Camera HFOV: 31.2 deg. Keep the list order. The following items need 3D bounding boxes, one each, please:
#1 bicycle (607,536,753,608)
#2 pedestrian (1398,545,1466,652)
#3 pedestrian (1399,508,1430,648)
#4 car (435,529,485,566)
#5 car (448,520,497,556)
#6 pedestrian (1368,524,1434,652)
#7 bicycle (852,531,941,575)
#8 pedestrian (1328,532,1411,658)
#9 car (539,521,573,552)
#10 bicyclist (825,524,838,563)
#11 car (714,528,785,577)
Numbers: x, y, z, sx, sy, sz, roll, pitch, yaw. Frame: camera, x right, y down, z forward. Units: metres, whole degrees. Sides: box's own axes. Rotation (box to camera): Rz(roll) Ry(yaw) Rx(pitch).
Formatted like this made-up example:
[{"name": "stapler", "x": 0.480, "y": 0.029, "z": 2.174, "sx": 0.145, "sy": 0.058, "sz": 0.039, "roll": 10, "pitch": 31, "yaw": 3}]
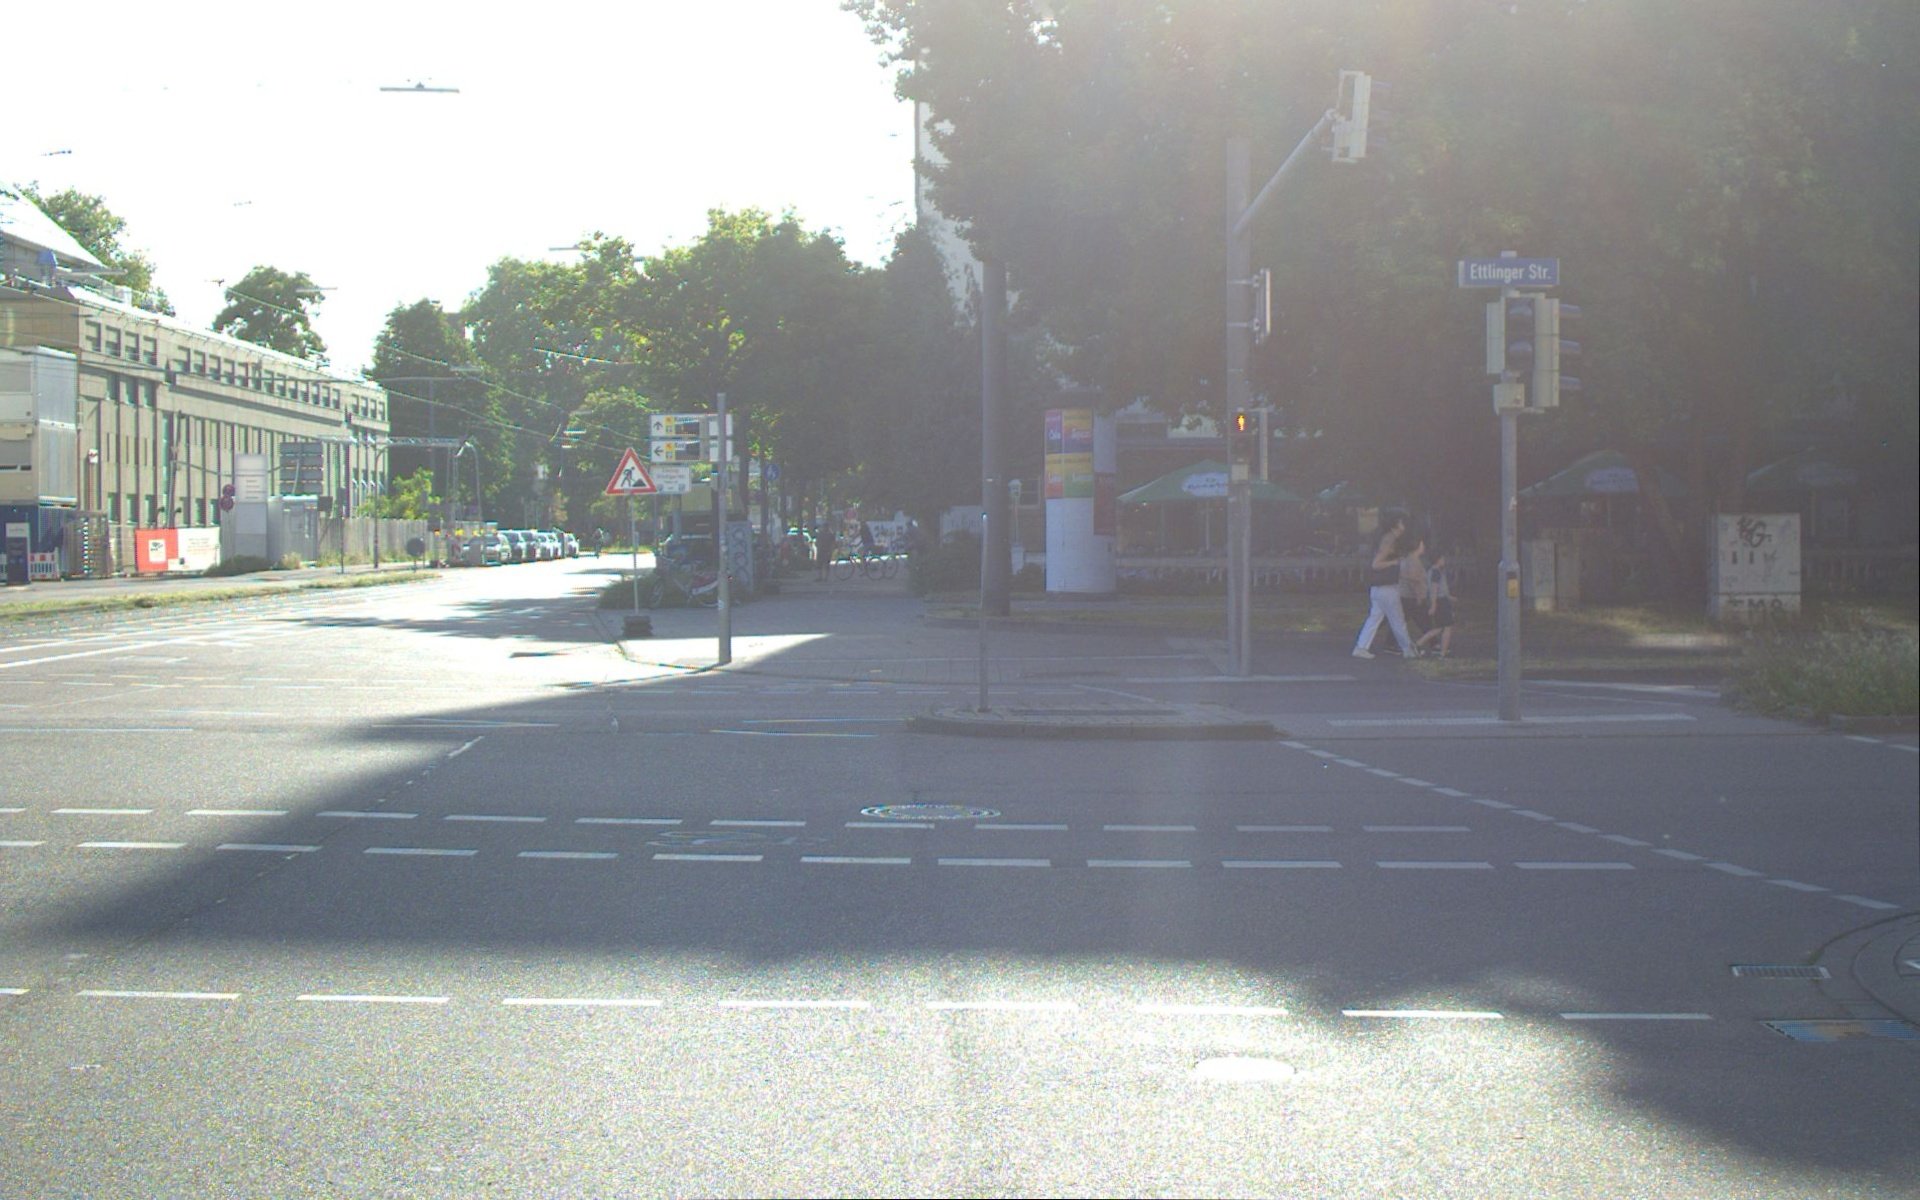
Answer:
[{"name": "bicycle", "x": -5.467, "y": -0.548, "z": 67.138, "sx": 2.748, "sy": 1.363, "sz": 0.630, "roll": 1, "pitch": 0, "yaw": 11}, {"name": "pedestrian", "x": 5.945, "y": -0.029, "z": 43.337, "sx": 0.752, "sy": 1.328, "sz": 0.742, "roll": 0, "pitch": 1, "yaw": 1}, {"name": "pedestrian", "x": 5.869, "y": -0.286, "z": 44.409, "sx": 0.361, "sy": 1.798, "sz": 0.506, "roll": 0, "pitch": 1, "yaw": 11}, {"name": "car", "x": -22.696, "y": -2.385, "z": 156.078, "sx": 1.731, "sy": 1.647, "sz": 4.000, "roll": 0, "pitch": 1, "yaw": -1}, {"name": "car", "x": -22.705, "y": -2.875, "z": 160.104, "sx": 1.731, "sy": 1.647, "sz": 4.000, "roll": 0, "pitch": 1, "yaw": -1}, {"name": "pedestrian", "x": 5.720, "y": -0.160, "z": 44.585, "sx": 0.795, "sy": 1.634, "sz": 0.533, "roll": 0, "pitch": 1, "yaw": 2}, {"name": "bicycle", "x": -1.898, "y": -1.399, "z": 103.189, "sx": 2.568, "sy": 1.284, "sz": 0.728, "roll": 1, "pitch": 0, "yaw": -11}, {"name": "pedestrian", "x": 5.233, "y": -0.065, "z": 43.952, "sx": 0.984, "sy": 1.582, "sz": 0.660, "roll": 0, "pitch": 0, "yaw": 1}, {"name": "car", "x": -22.817, "y": -3.574, "z": 194.167, "sx": 1.483, "sy": 1.744, "sz": 4.000, "roll": -1, "pitch": 1, "yaw": -1}, {"name": "bicyclist", "x": -3.680, "y": -1.622, "z": 98.441, "sx": 0.318, "sy": 1.124, "sz": 0.291, "roll": 0, "pitch": 1, "yaw": 10}, {"name": "car", "x": -5.628, "y": -1.287, "z": 92.324, "sx": 1.819, "sy": 1.274, "sz": 4.001, "roll": 0, "pitch": 1, "yaw": -3}]
